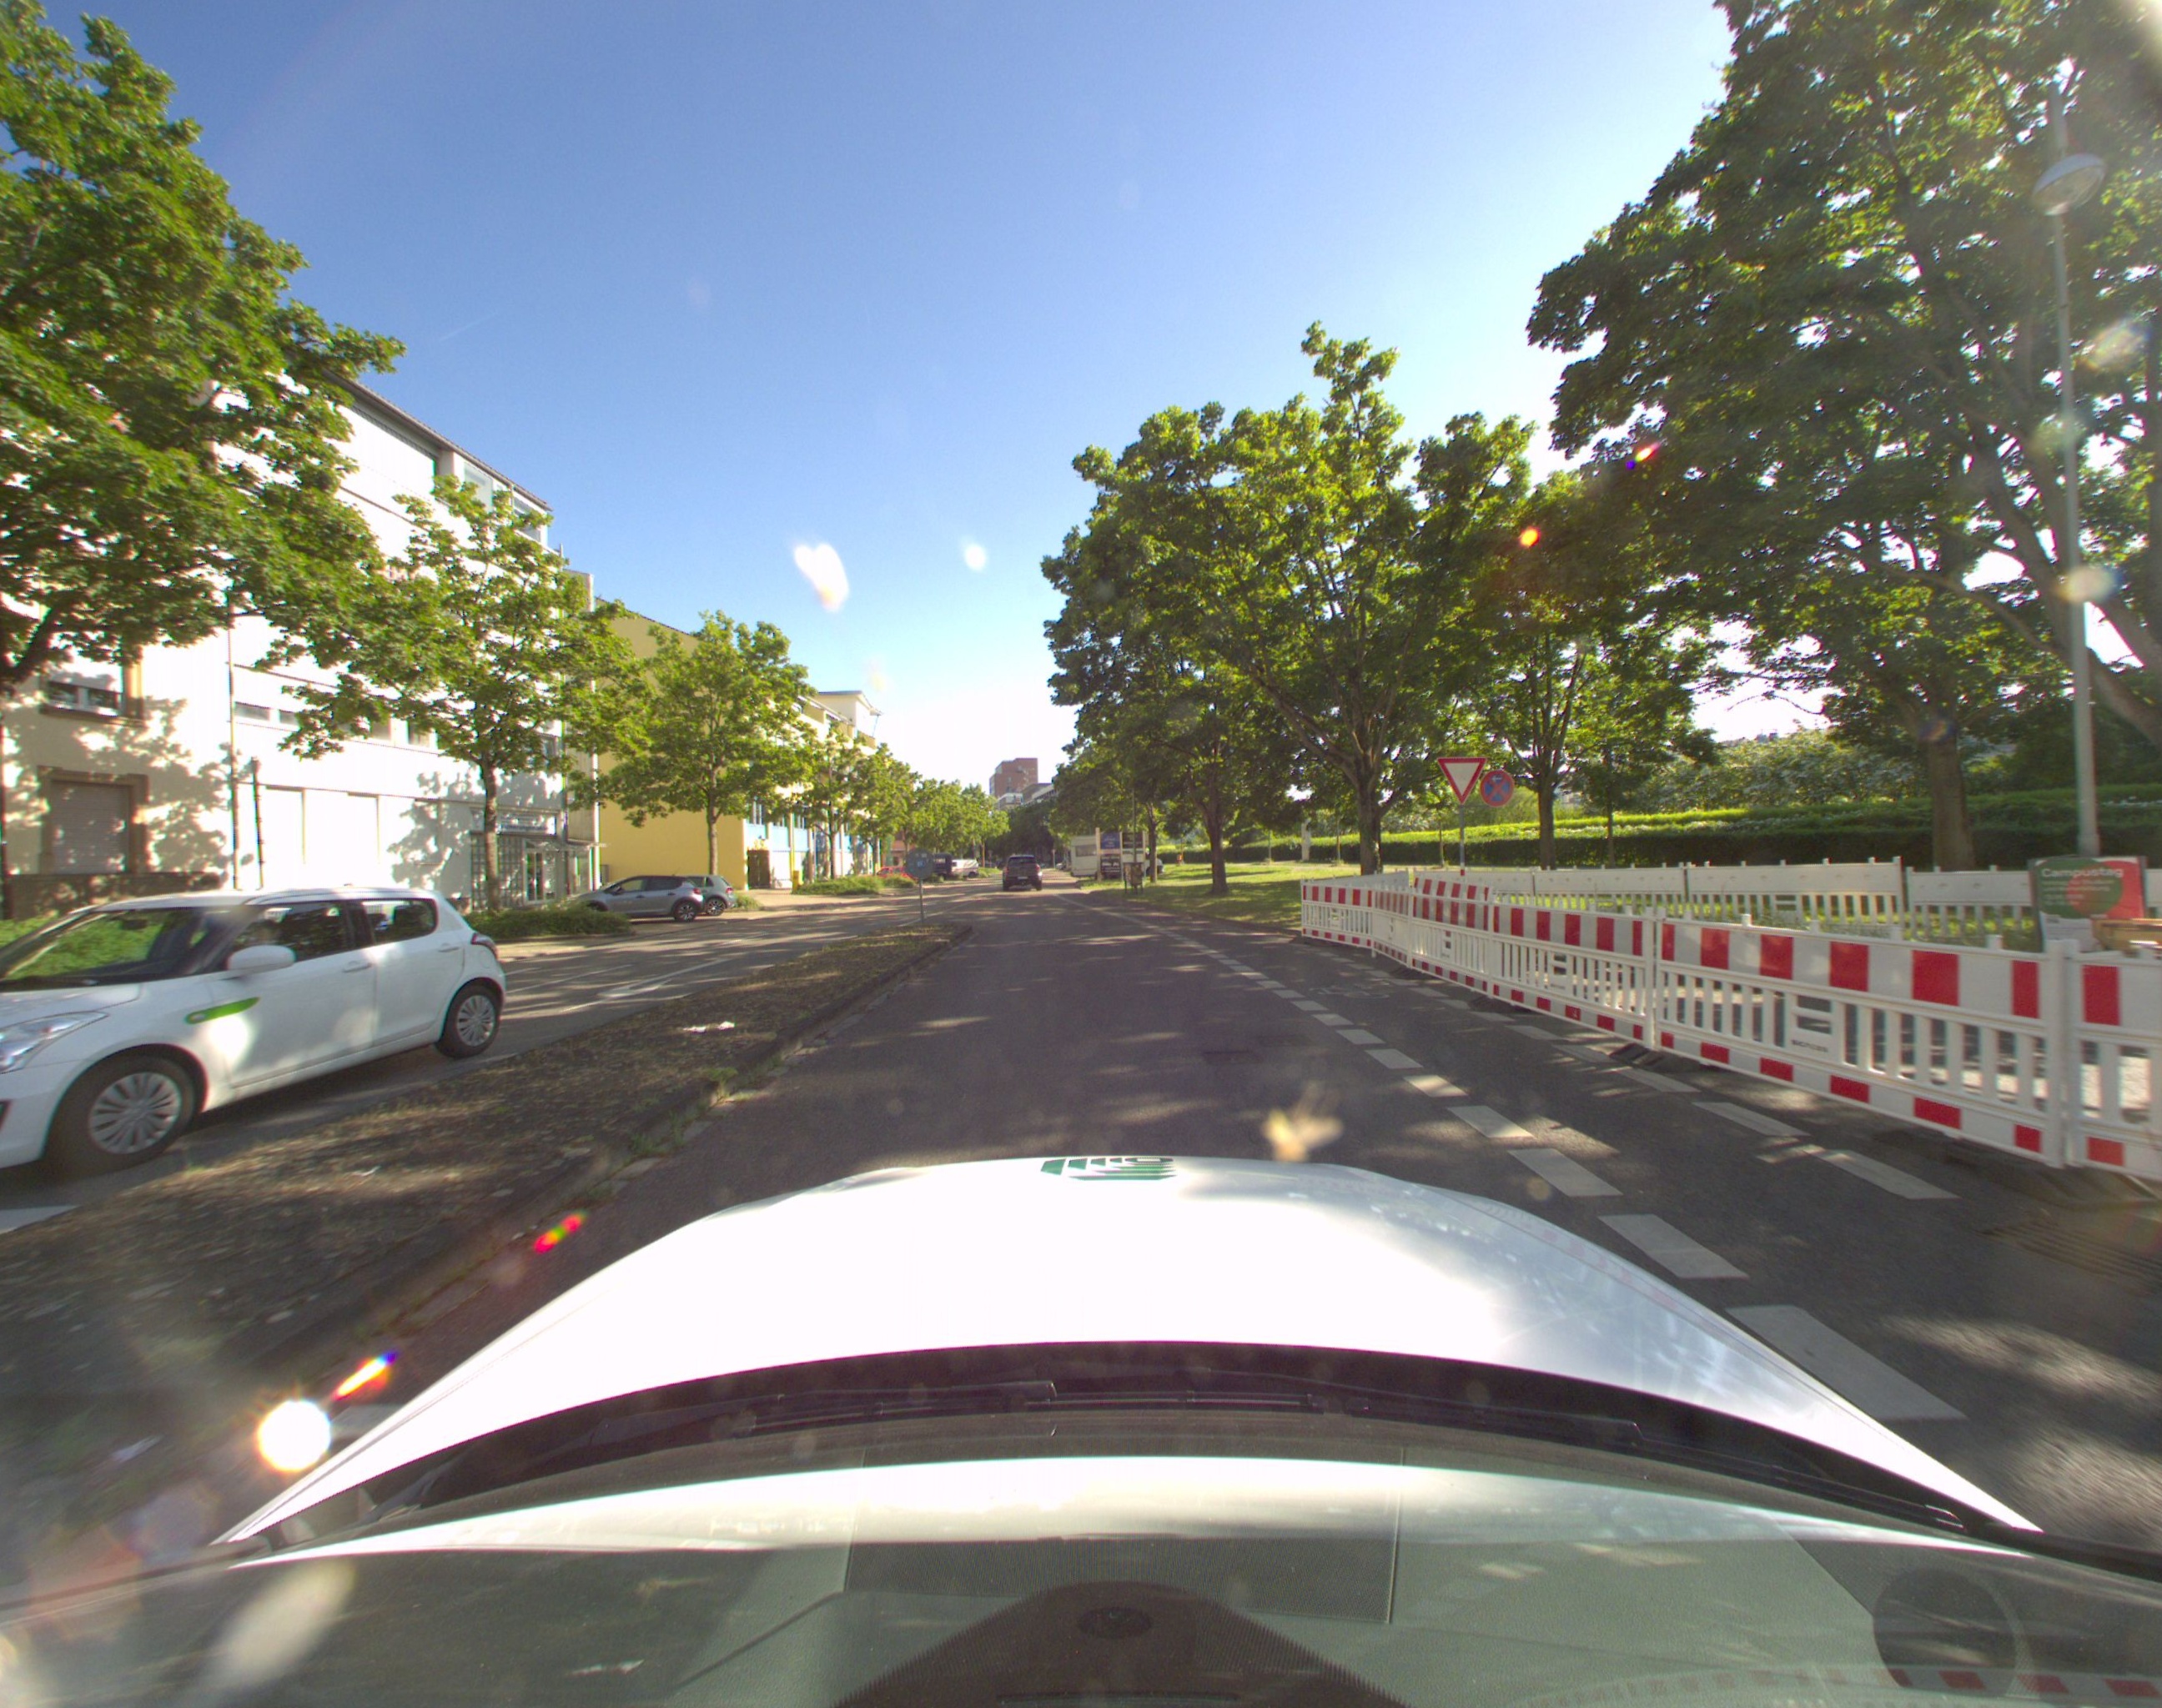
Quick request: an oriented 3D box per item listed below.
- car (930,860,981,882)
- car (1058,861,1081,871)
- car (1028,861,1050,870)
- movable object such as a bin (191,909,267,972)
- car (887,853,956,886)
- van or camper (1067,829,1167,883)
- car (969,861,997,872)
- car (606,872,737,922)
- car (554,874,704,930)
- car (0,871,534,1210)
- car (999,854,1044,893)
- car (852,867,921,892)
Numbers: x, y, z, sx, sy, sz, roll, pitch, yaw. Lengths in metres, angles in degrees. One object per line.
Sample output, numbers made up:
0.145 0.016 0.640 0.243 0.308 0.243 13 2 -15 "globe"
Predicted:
-13.327 1.763 86.647 4.921 2.083 1.964 -2 -1 -36 "car"
-1.727 1.764 119.044 3.236 1.277 1.515 -4 0 -3 "car"
-7.675 2.052 149.071 3.947 1.397 1.511 -4 0 -10 "car"
-13.372 1.347 12.792 0.511 0.913 0.640 -1 -1 9 "movable object such as a bin"
-13.389 1.280 68.513 5.289 2.545 1.968 -2 -1 -26 "car"
2.224 0.107 51.831 6.063 2.928 2.573 -4 -1 -2 "van or camper"
-14.287 1.845 119.027 3.884 1.365 1.405 -4 0 -10 "car"
-14.154 1.452 28.180 3.900 1.510 1.809 -1 -1 -33 "car"
-13.926 1.433 25.153 3.901 1.510 1.809 -1 -1 -33 "car"
-5.940 0.963 5.551 1.699 1.512 3.862 -4 0 0 "car"
-3.220 0.970 43.025 2.131 1.835 4.929 -2 0 -7 "car"
-13.793 1.783 57.783 4.430 1.552 1.905 -2 -1 -26 "car"
